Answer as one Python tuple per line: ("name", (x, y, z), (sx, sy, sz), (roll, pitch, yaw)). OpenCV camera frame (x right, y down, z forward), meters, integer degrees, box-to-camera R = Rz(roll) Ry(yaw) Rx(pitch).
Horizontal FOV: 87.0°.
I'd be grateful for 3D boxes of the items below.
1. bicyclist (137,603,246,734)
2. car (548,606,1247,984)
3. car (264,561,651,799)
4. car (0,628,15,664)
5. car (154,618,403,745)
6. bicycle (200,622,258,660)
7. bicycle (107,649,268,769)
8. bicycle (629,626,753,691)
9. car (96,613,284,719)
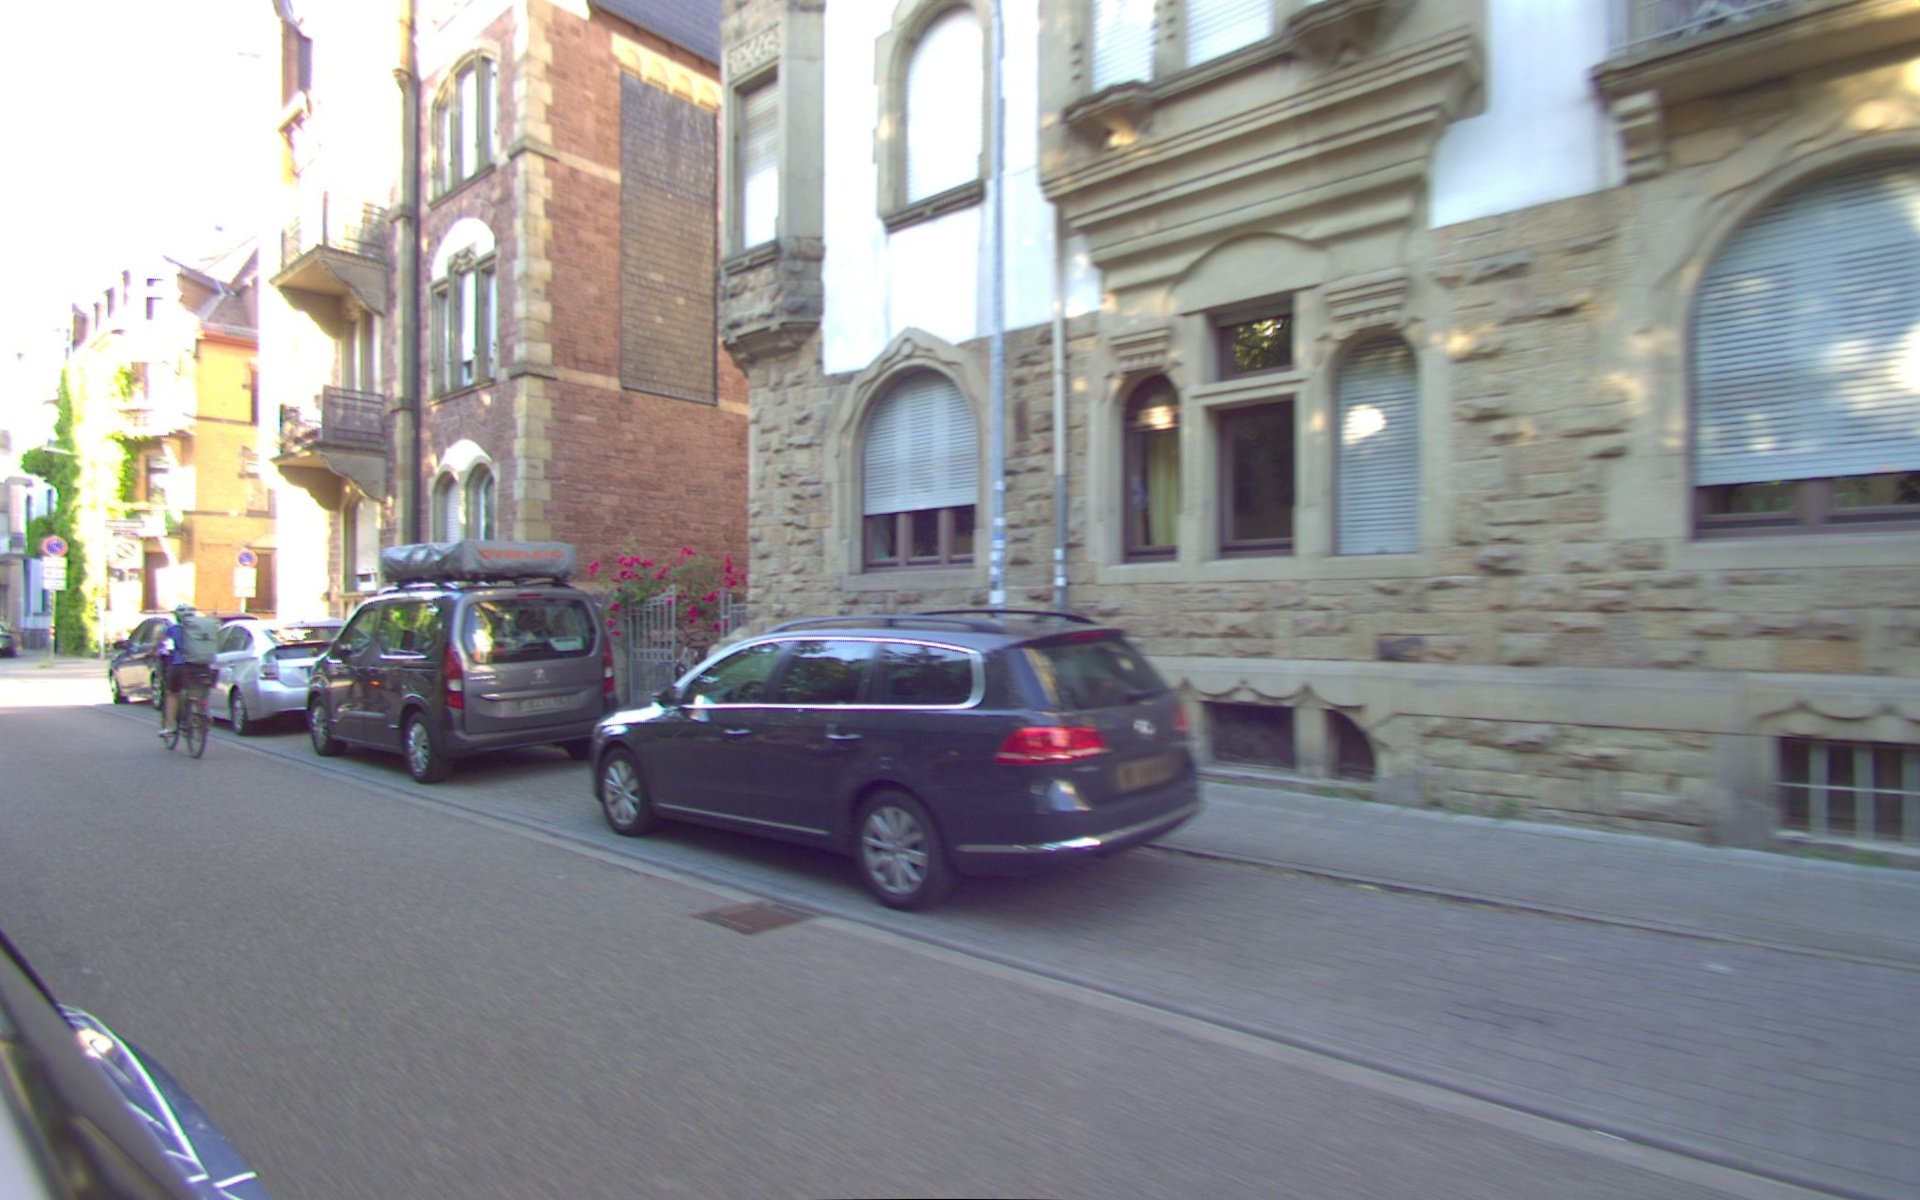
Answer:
("bicyclist", (-8.398, 0.734, 11.057), (1.058, 1.355, 0.658), (-2, -4, 38))
("car", (-0.725, 0.849, 6.533), (4.708, 1.586, 1.711), (0, -1, 42))
("car", (-5.411, 0.710, 10.644), (4.493, 1.989, 1.949), (-2, -1, 39))
("car", (-40.062, 1.875, 41.132), (4.922, 1.415, 1.858), (-2, 0, 40))
("car", (-9.757, 1.046, 14.351), (4.450, 1.510, 1.712), (-2, -1, 39))
("bicycle", (-25.363, 1.420, 35.122), (1.577, 1.278, 0.566), (1, -2, -40))
("bicycle", (-8.638, 1.147, 11.263), (2.616, 1.187, 0.746), (-2, -4, 38))
("bicycle", (-4.737, 1.012, 18.005), (0.608, 1.087, 2.332), (-1, -2, 33))
("car", (-13.791, 1.102, 18.037), (4.254, 1.634, 1.712), (-2, -1, 39))
